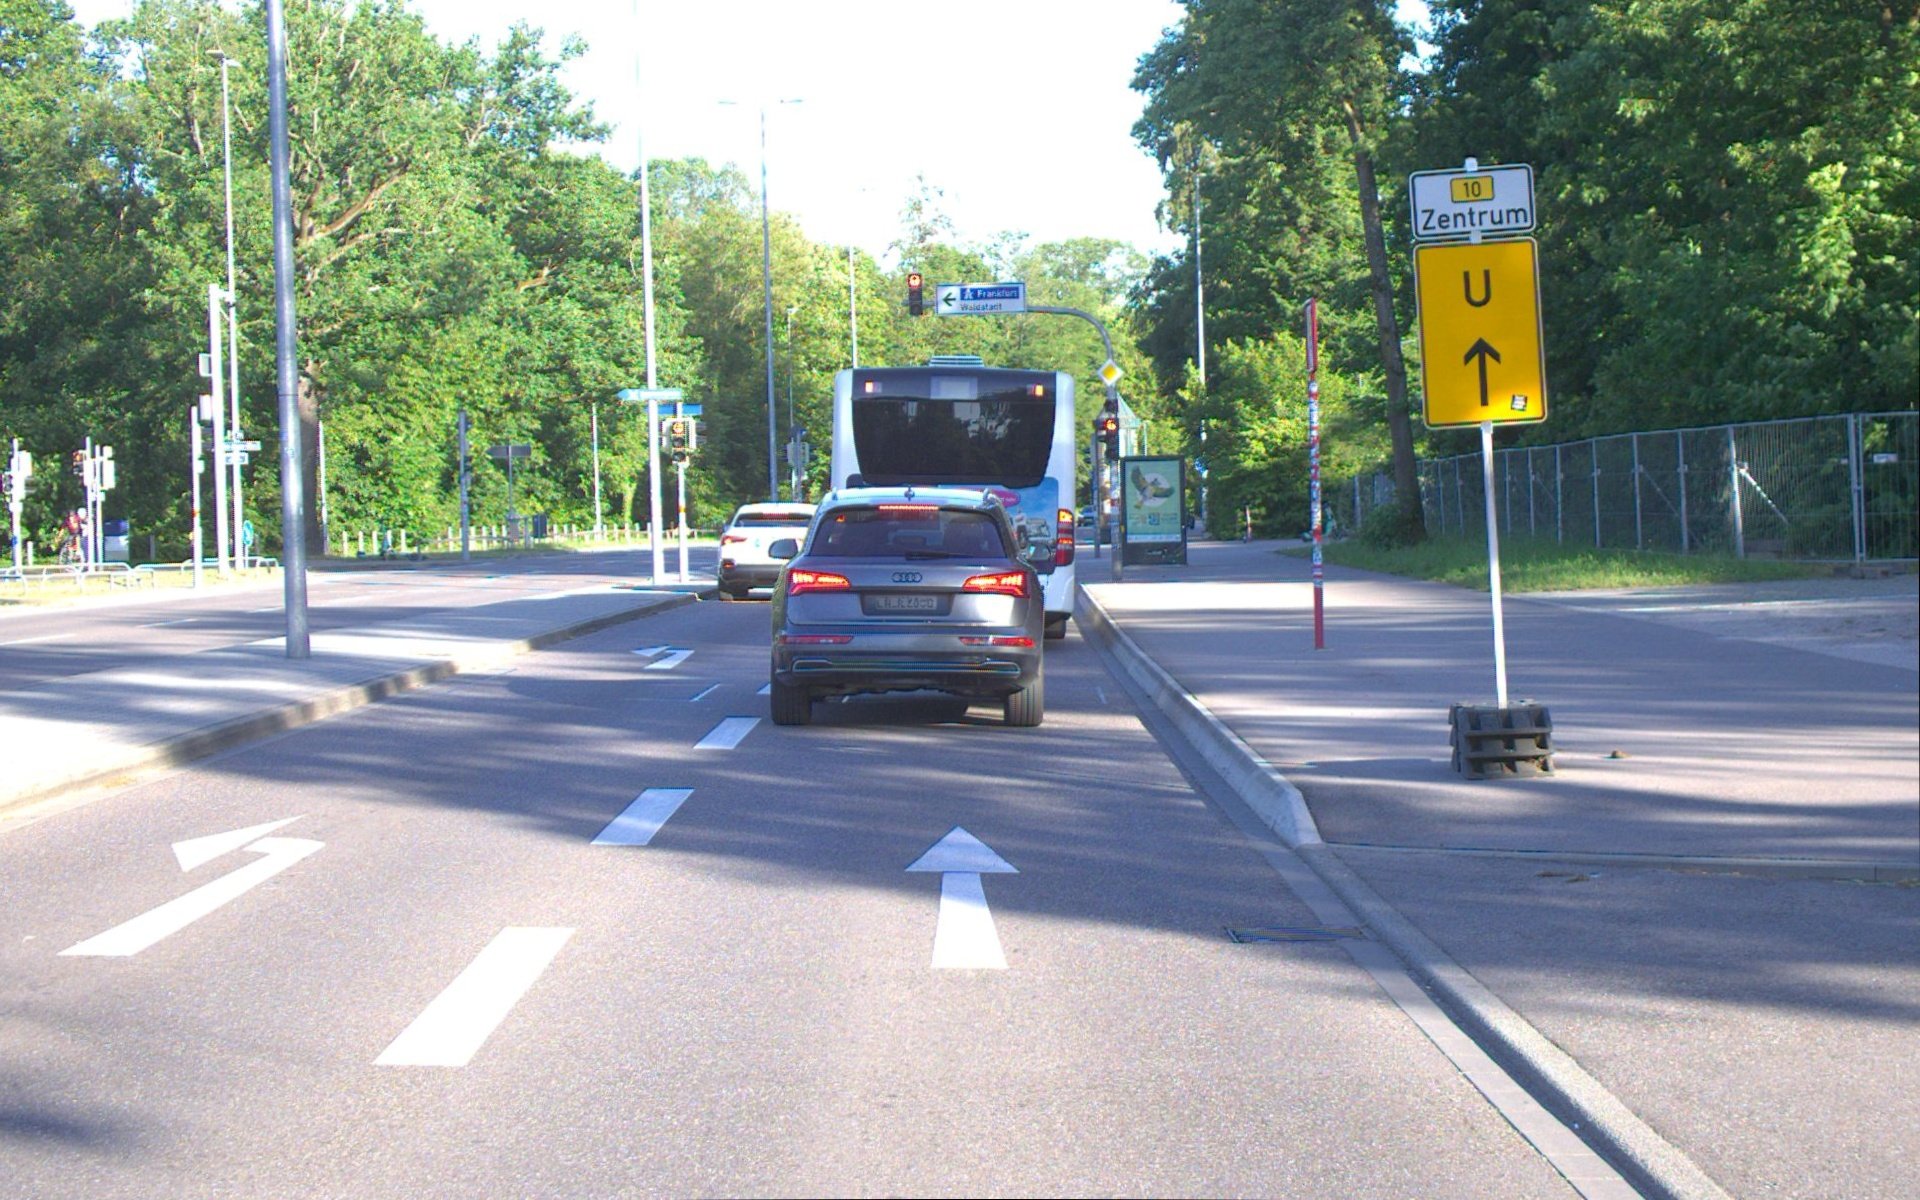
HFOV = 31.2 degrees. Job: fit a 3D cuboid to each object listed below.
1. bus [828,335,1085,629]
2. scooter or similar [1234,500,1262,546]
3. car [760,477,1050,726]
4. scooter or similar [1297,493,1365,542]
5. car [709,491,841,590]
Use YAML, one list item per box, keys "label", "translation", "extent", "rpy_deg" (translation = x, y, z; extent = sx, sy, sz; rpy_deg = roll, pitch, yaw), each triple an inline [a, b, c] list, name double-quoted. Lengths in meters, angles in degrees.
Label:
- label: "bus"
  translation: [0.014, -1.298, 39.545]
  extent: [2.595, 2.978, 9.327]
  rpy_deg: [0, 1, 1]
- label: "scooter or similar"
  translation: [9.159, -2.448, 109.377]
  extent: [0.508, 1.439, 2.023]
  rpy_deg: [-2, 2, -4]
- label: "car"
  translation: [-0.339, -0.052, 24.596]
  extent: [1.898, 1.626, 4.000]
  rpy_deg: [0, 2, 1]
- label: "scooter or similar"
  translation: [11.528, -2.561, 106.883]
  extent: [2.015, 1.439, 0.606]
  rpy_deg: [-3, 2, -23]
- label: "car"
  translation: [-2.927, -0.978, 55.116]
  extent: [1.836, 1.513, 4.000]
  rpy_deg: [-1, 2, 1]
